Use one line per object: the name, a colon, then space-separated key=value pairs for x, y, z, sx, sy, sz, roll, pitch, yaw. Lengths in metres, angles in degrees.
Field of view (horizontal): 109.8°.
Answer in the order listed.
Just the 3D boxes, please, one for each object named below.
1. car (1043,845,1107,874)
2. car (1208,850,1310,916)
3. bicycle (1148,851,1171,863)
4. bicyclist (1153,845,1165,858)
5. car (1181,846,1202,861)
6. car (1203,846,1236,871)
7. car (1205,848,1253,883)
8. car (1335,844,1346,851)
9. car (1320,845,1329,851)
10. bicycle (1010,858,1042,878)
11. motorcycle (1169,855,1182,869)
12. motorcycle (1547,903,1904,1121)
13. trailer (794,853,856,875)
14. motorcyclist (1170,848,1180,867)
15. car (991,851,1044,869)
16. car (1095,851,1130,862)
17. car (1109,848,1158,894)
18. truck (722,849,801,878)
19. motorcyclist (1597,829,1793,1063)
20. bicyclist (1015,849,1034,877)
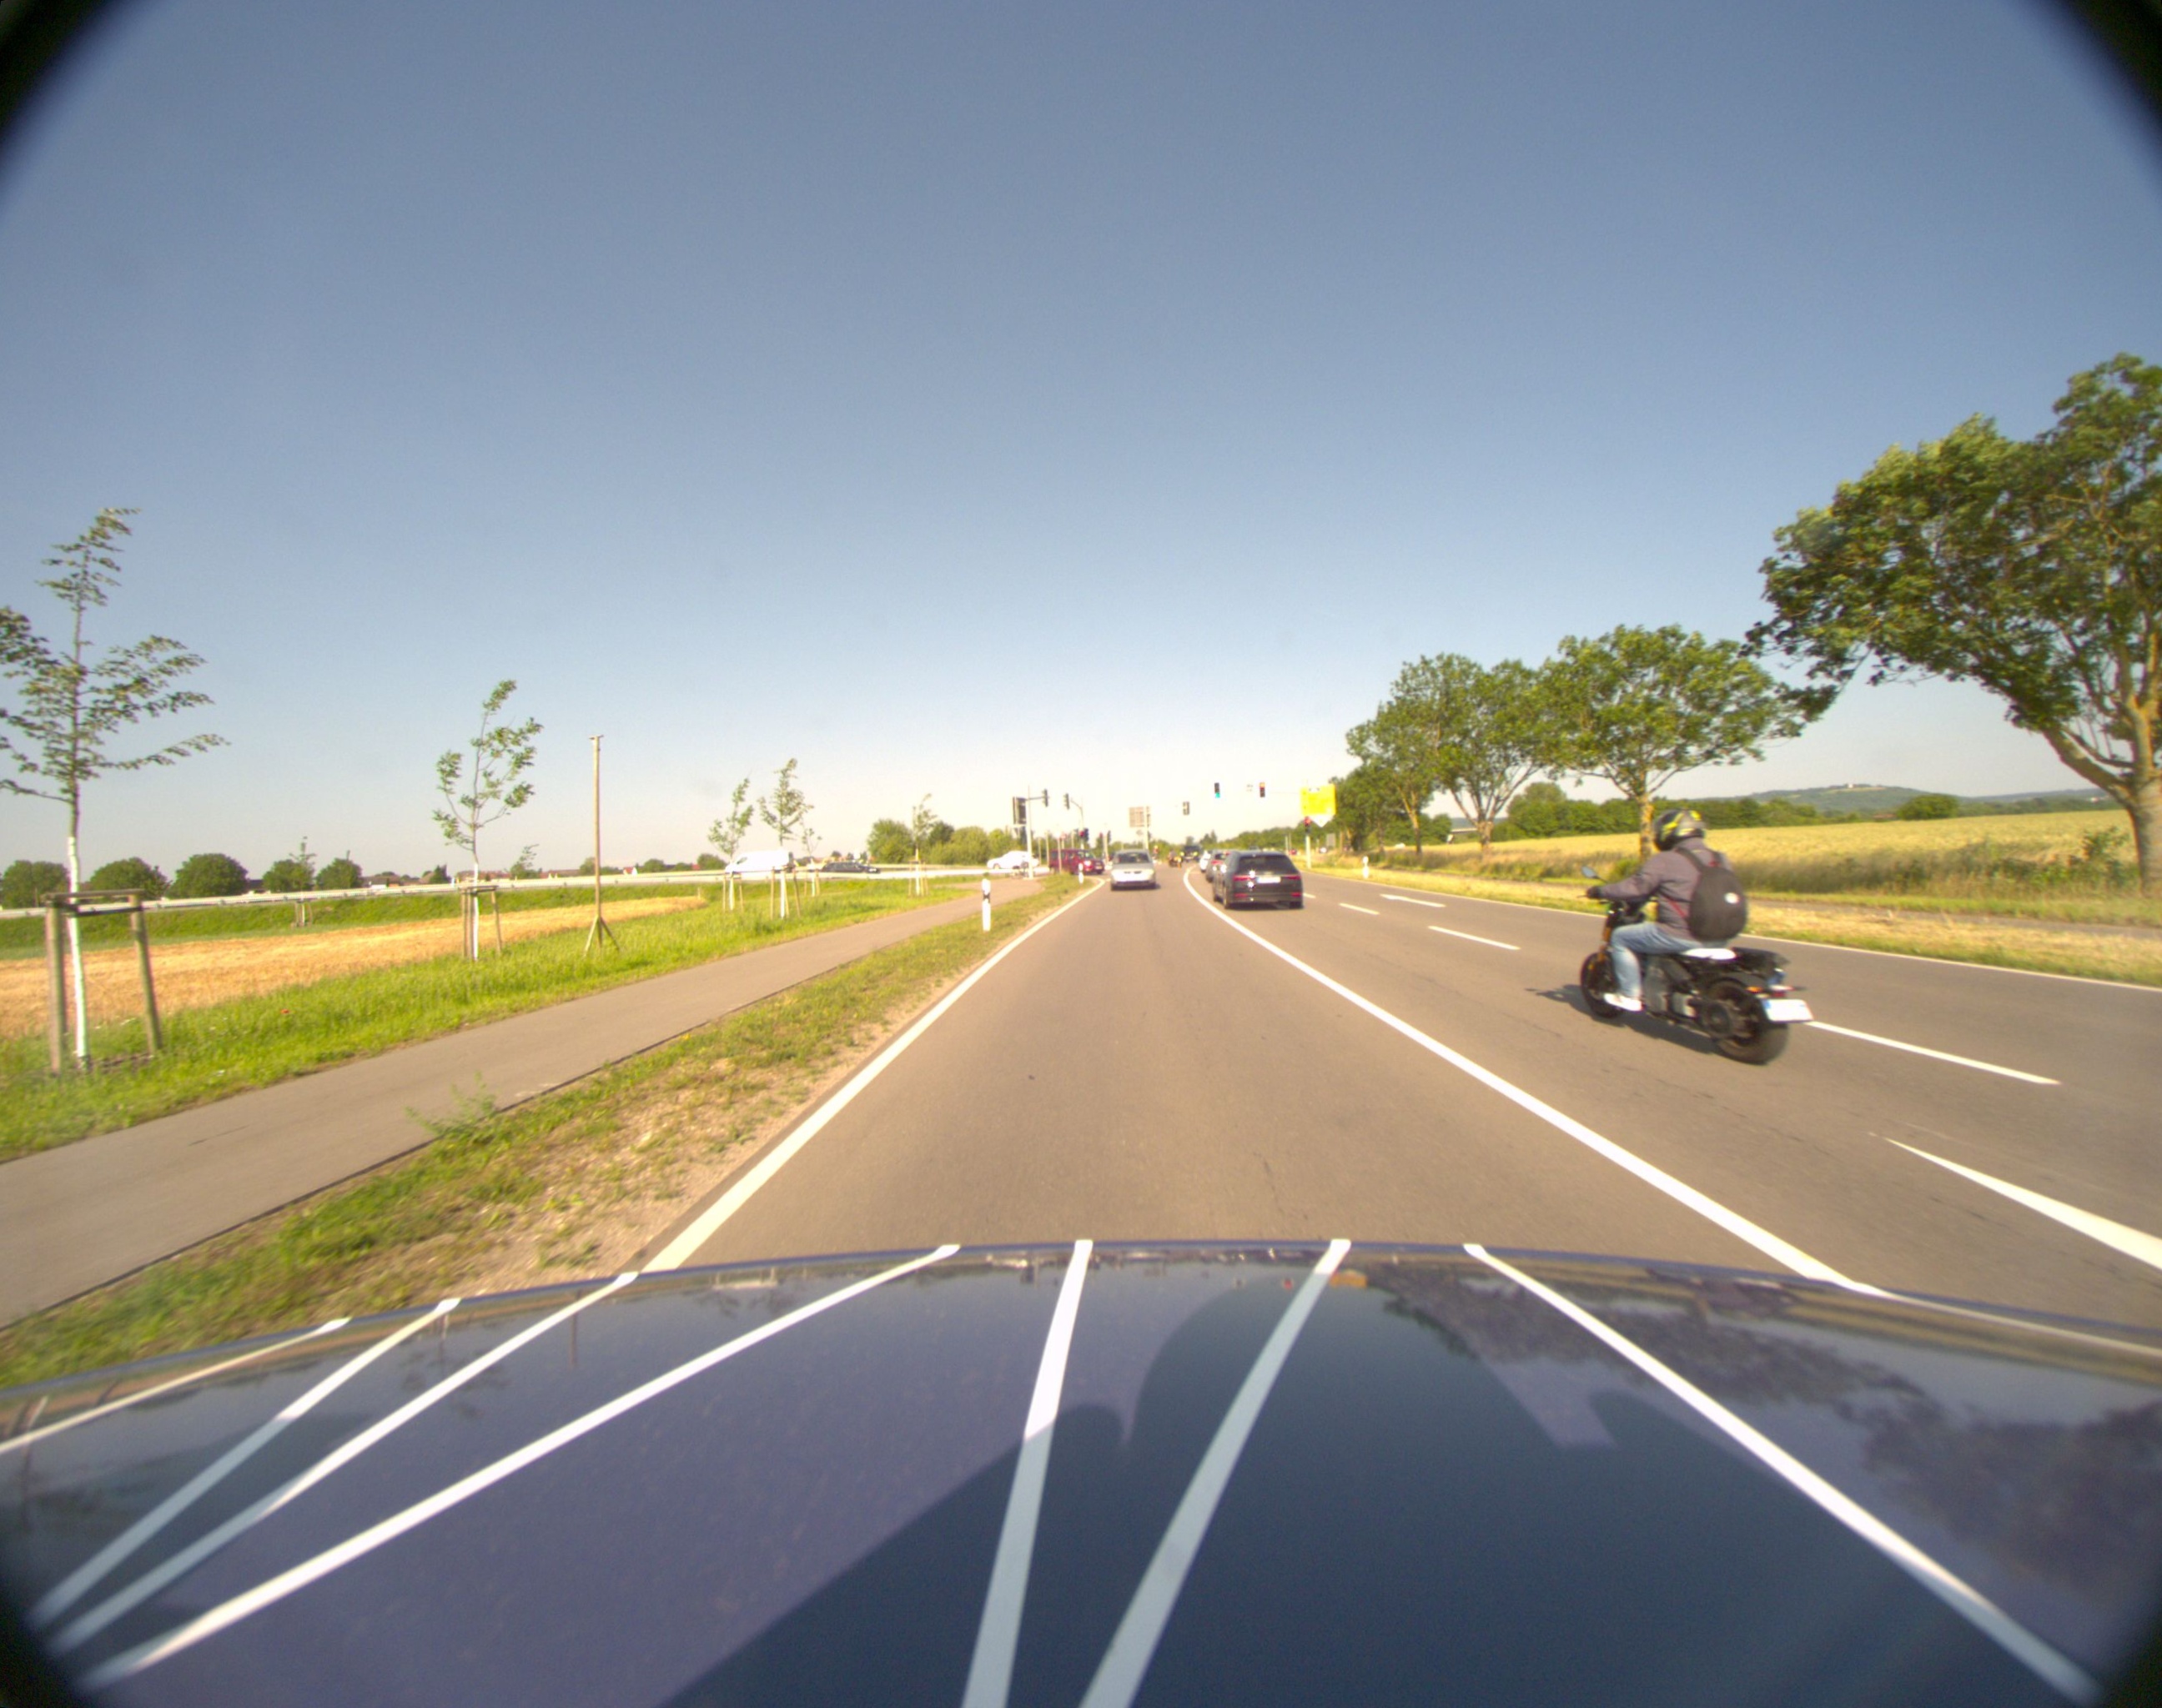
car: x=-0.472 y=0.413 z=51.404 sx=1.697 sy=1.826 sz=4.686 roll=-3 pitch=1 yaw=-38
car: x=4.486 y=0.656 z=19.895 sx=1.894 sy=1.428 sz=4.798 roll=-2 pitch=1 yaw=5
bicycle: x=7.929 y=0.281 z=76.607 sx=2.147 sy=1.143 sz=1.074 roll=-1 pitch=2 yaw=12
bicyclist: x=7.846 y=-0.265 z=76.634 sx=1.072 sy=1.344 sz=0.859 roll=-1 pitch=2 yaw=12
car: x=12.245 y=-0.095 z=83.923 sx=1.859 sy=1.533 sz=4.004 roll=-2 pitch=0 yaw=13
car: x=8.867 y=0.284 z=48.519 sx=1.893 sy=1.458 sz=4.279 roll=-2 pitch=0 yaw=12
car: x=6.646 y=0.467 z=34.507 sx=1.893 sy=1.452 sz=4.308 roll=-1 pitch=1 yaw=7
car: x=66.102 y=-1.686 z=193.531 sx=1.885 sy=1.616 sz=4.008 roll=0 pitch=1 yaw=31
car: x=55.494 y=-1.380 z=173.167 sx=1.630 sy=1.369 sz=4.429 roll=0 pitch=1 yaw=24
bicycle: x=-3.665 y=0.905 z=50.386 sx=1.947 sy=1.145 sz=0.679 roll=-7 pitch=4 yaw=-35
motorcycle: x=7.597 y=0.637 z=60.982 sx=0.898 sy=1.037 sz=2.429 roll=-2 pitch=0 yaw=5
motorcycle: x=4.226 y=0.961 z=5.258 sx=0.873 sy=1.067 sz=1.969 roll=-2 pitch=1 yaw=4
trailer: x=-23.420 y=0.898 z=69.658 sx=5.009 sy=1.728 sz=1.980 roll=-2 pitch=1 yaw=-3
motorcyclist: x=7.554 y=0.265 z=61.083 sx=0.680 sy=1.506 sz=1.182 roll=-2 pitch=1 yaw=6
car: x=-5.890 y=0.551 z=70.966 sx=4.703 sy=1.483 sz=1.765 roll=-2 pitch=1 yaw=4
car: x=3.538 y=0.295 z=84.319 sx=1.735 sy=1.106 sz=4.008 roll=0 pitch=1 yaw=41
car: x=2.177 y=0.621 z=30.748 sx=1.754 sy=1.685 sz=4.217 roll=-2 pitch=0 yaw=6
truck: x=-29.040 y=0.826 z=69.306 sx=6.196 sy=2.391 sz=2.070 roll=-2 pitch=1 yaw=-4
motorcyclist: x=4.224 y=0.594 z=5.296 sx=0.679 sy=1.486 sz=0.847 roll=-2 pitch=1 yaw=4
bicyclist: x=-3.723 y=0.609 z=50.310 sx=0.919 sy=1.756 sz=0.618 roll=-7 pitch=5 yaw=-35
